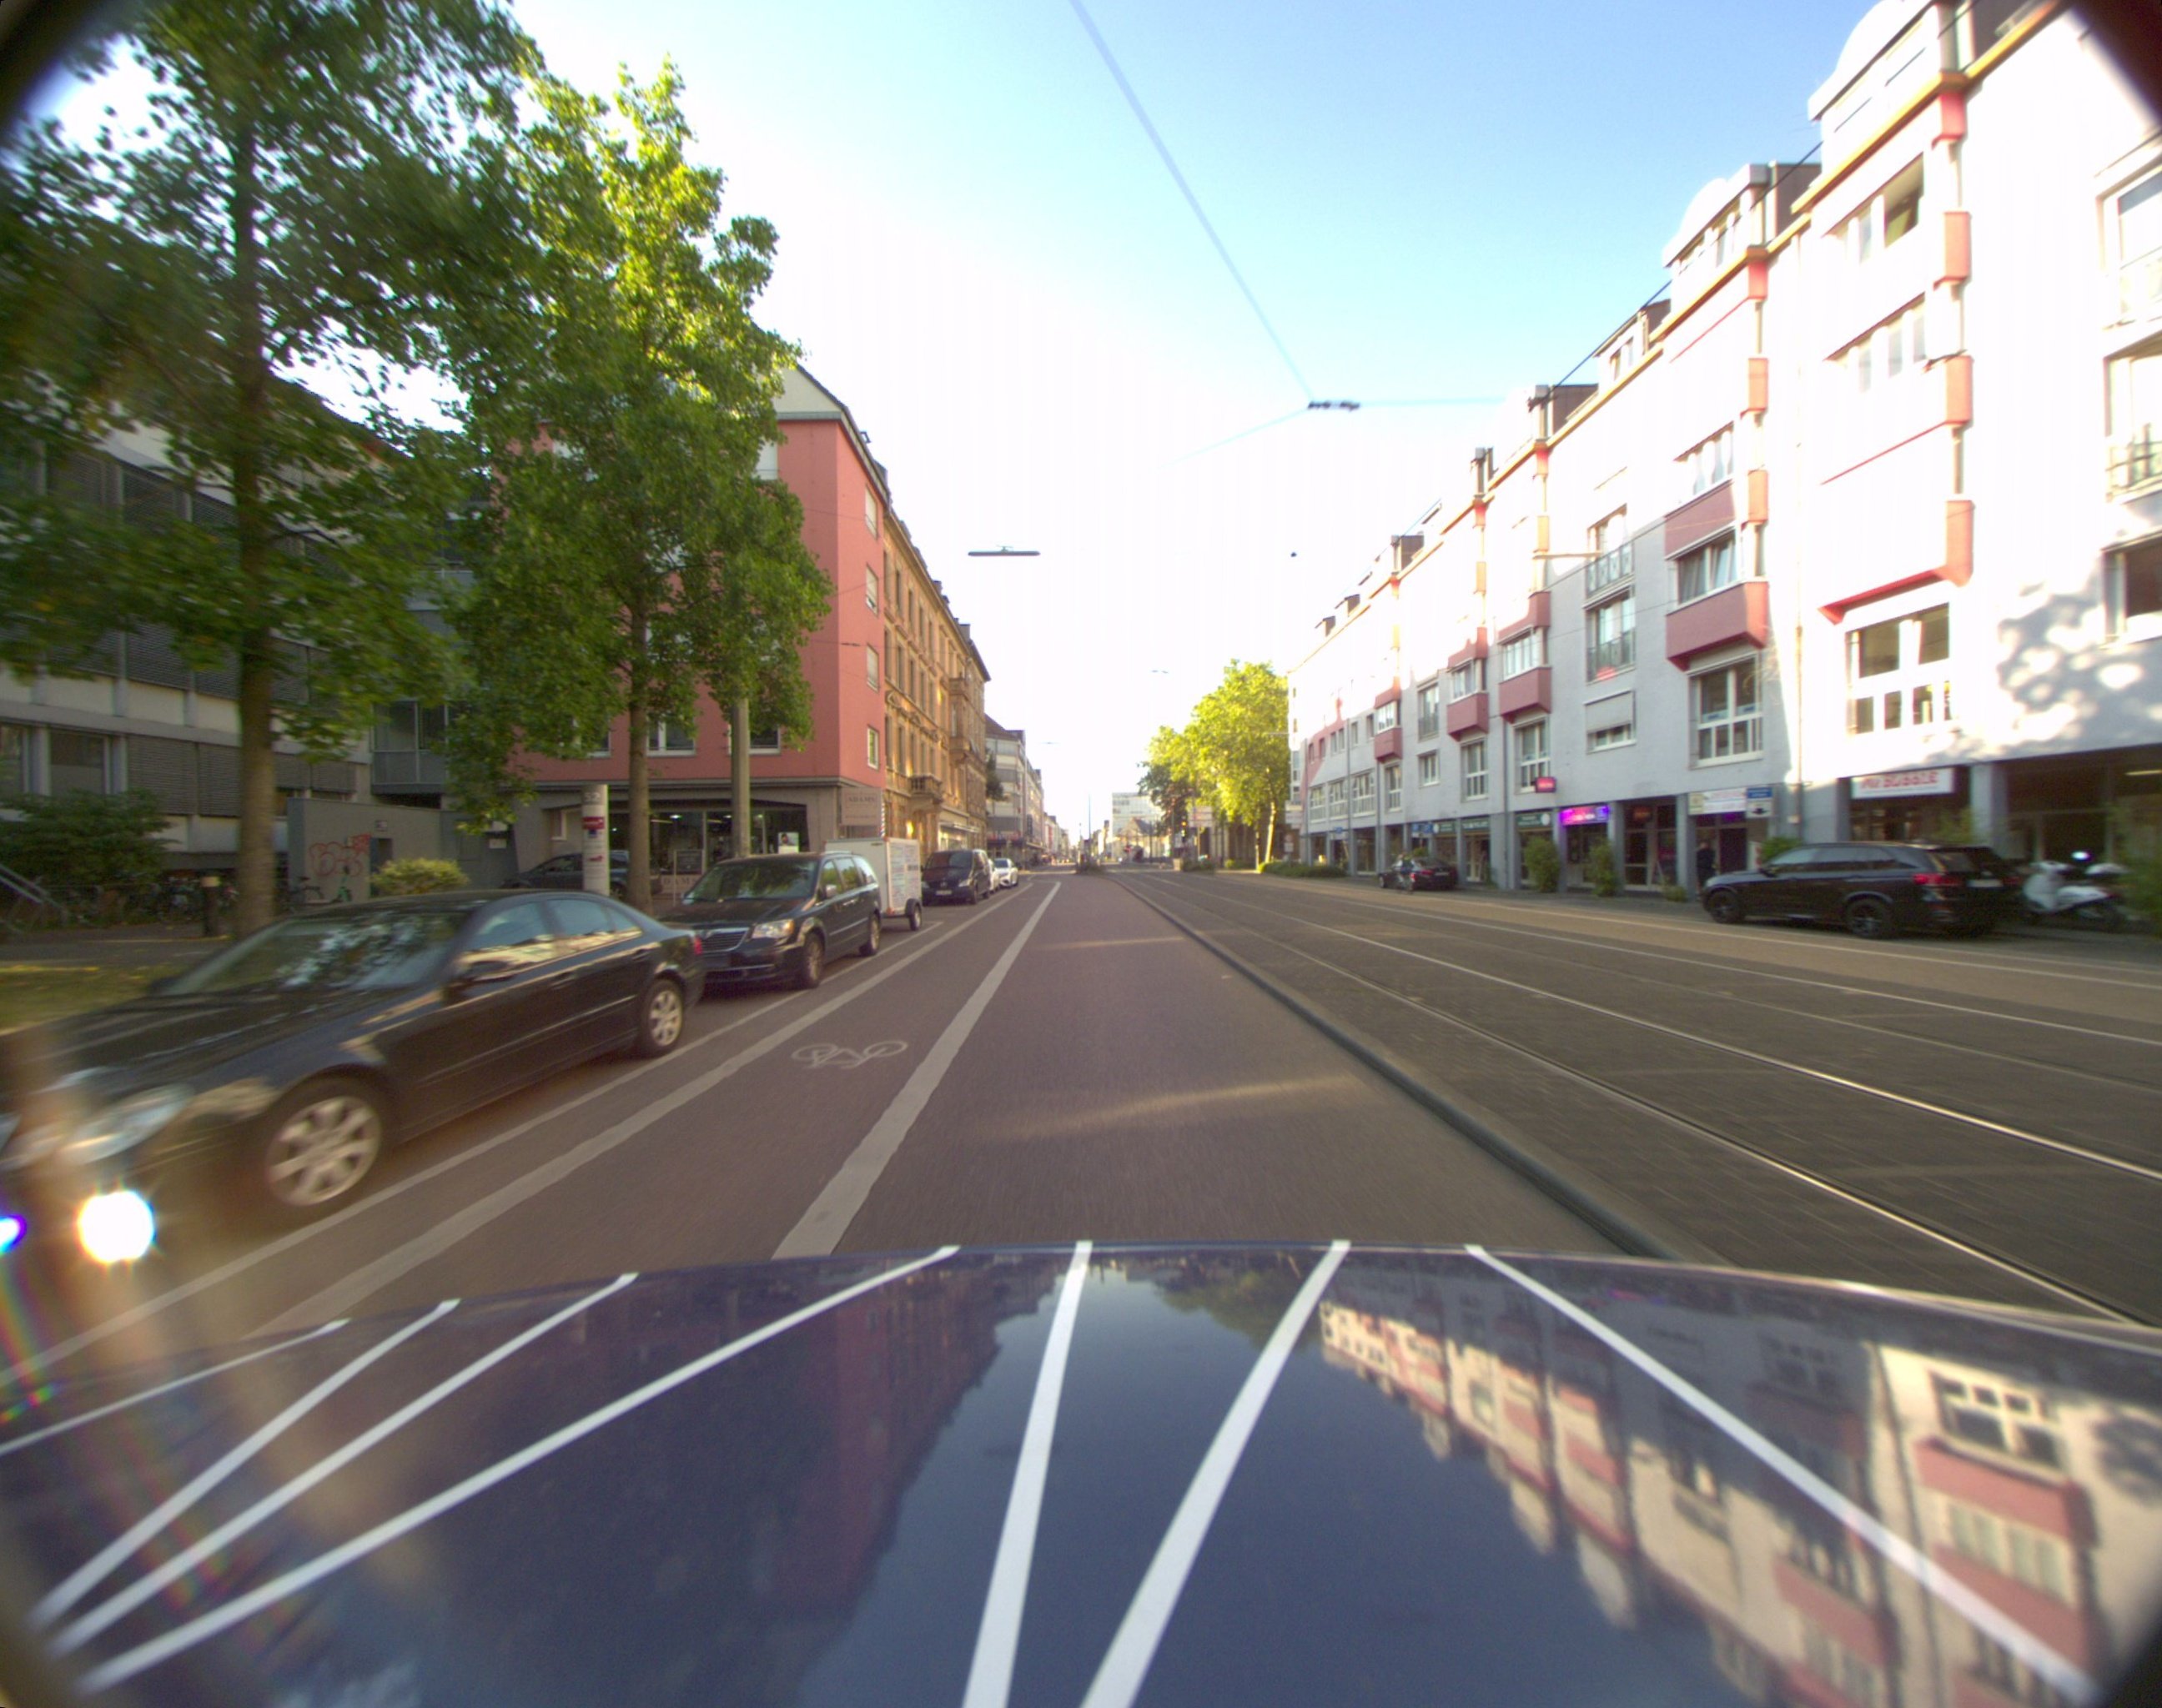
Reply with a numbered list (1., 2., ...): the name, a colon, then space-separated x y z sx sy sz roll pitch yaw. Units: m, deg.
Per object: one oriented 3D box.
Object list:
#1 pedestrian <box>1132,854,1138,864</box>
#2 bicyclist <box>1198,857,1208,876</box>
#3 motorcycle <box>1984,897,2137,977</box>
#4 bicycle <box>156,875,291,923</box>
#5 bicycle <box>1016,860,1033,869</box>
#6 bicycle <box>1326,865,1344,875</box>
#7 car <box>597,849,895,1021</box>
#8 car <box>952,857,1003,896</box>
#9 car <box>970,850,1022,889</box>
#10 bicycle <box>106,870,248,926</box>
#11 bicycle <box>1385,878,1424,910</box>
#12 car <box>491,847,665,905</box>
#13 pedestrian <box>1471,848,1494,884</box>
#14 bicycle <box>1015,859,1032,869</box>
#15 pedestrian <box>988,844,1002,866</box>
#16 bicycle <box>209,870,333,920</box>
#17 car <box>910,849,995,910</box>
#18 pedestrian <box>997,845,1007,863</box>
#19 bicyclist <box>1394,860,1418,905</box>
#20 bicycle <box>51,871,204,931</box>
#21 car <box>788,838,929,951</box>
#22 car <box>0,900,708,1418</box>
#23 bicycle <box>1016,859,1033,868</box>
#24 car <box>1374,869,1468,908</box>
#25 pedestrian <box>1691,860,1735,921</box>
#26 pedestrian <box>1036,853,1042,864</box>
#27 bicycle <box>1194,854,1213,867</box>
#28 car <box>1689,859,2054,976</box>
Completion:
1. pedestrian: 9.454 0.907 132.012 0.913 1.652 0.967 -1 1 -1
2. bicyclist: 11.040 1.152 68.757 0.532 1.702 0.747 -1 1 45
3. motorcycle: 16.468 1.362 12.833 0.571 1.127 1.543 -3 1 -1
4. bicycle: -20.368 1.065 18.073 2.379 1.037 0.862 1 0 5
5. bicycle: -6.565 1.221 88.146 1.839 1.048 0.718 -1 0 -3
6. bicycle: 17.176 1.073 51.421 0.457 0.654 1.809 -4 0 -5
7. car: -4.267 0.871 10.852 1.955 1.778 5.180 -3 0 -1
8. car: -4.472 0.939 33.298 1.735 1.487 3.960 -3 0 -2
9. car: -4.232 0.738 38.622 1.971 1.761 4.875 -2 0 1
10. bicycle: -20.326 0.968 17.104 2.324 1.145 0.862 1 0 5
11. bicycle: 12.435 1.518 29.271 0.584 1.071 2.185 1 0 1
12. car: -15.269 0.658 23.255 4.041 1.639 1.777 1 0 -5
13. pedestrian: 19.547 0.579 37.004 0.745 1.702 0.616 -1 0 -4
14. bicycle: -6.544 1.150 86.471 1.839 1.048 0.710 -1 0 -3
15. pedestrian: -6.239 0.083 55.143 0.777 1.558 0.914 2 1 3
16. bicycle: -20.330 1.011 19.093 2.324 1.164 0.862 1 0 5
17. car: -4.361 0.797 26.608 1.960 1.858 4.989 -3 0 1
18. pedestrian: -7.173 -0.001 69.016 0.785 1.655 1.033 -1 -1 1
19. bicyclist: 12.433 1.073 29.061 0.573 1.702 0.745 1 1 0
20. bicycle: -20.168 0.977 16.093 2.324 1.182 0.862 1 0 5
21. car: -4.604 0.744 16.319 1.709 2.107 3.706 -2 1 3
22. car: -4.310 1.131 4.666 1.721 1.418 4.675 -2 -1 0
23. bicycle: -6.577 1.125 88.875 1.975 1.098 0.614 -1 0 -3
24. car: 14.961 1.458 33.772 1.874 1.431 4.705 -2 0 -3
25. pedestrian: 17.972 1.018 21.620 0.615 1.702 0.745 -1 0 -2
26. pedestrian: -7.617 0.826 137.863 0.917 1.856 0.779 1 1 -3
27. bicycle: 11.088 0.584 68.790 1.903 1.071 0.582 -4 1 -44
28. car: 14.943 1.064 14.904 2.096 1.703 4.817 -3 1 -1
